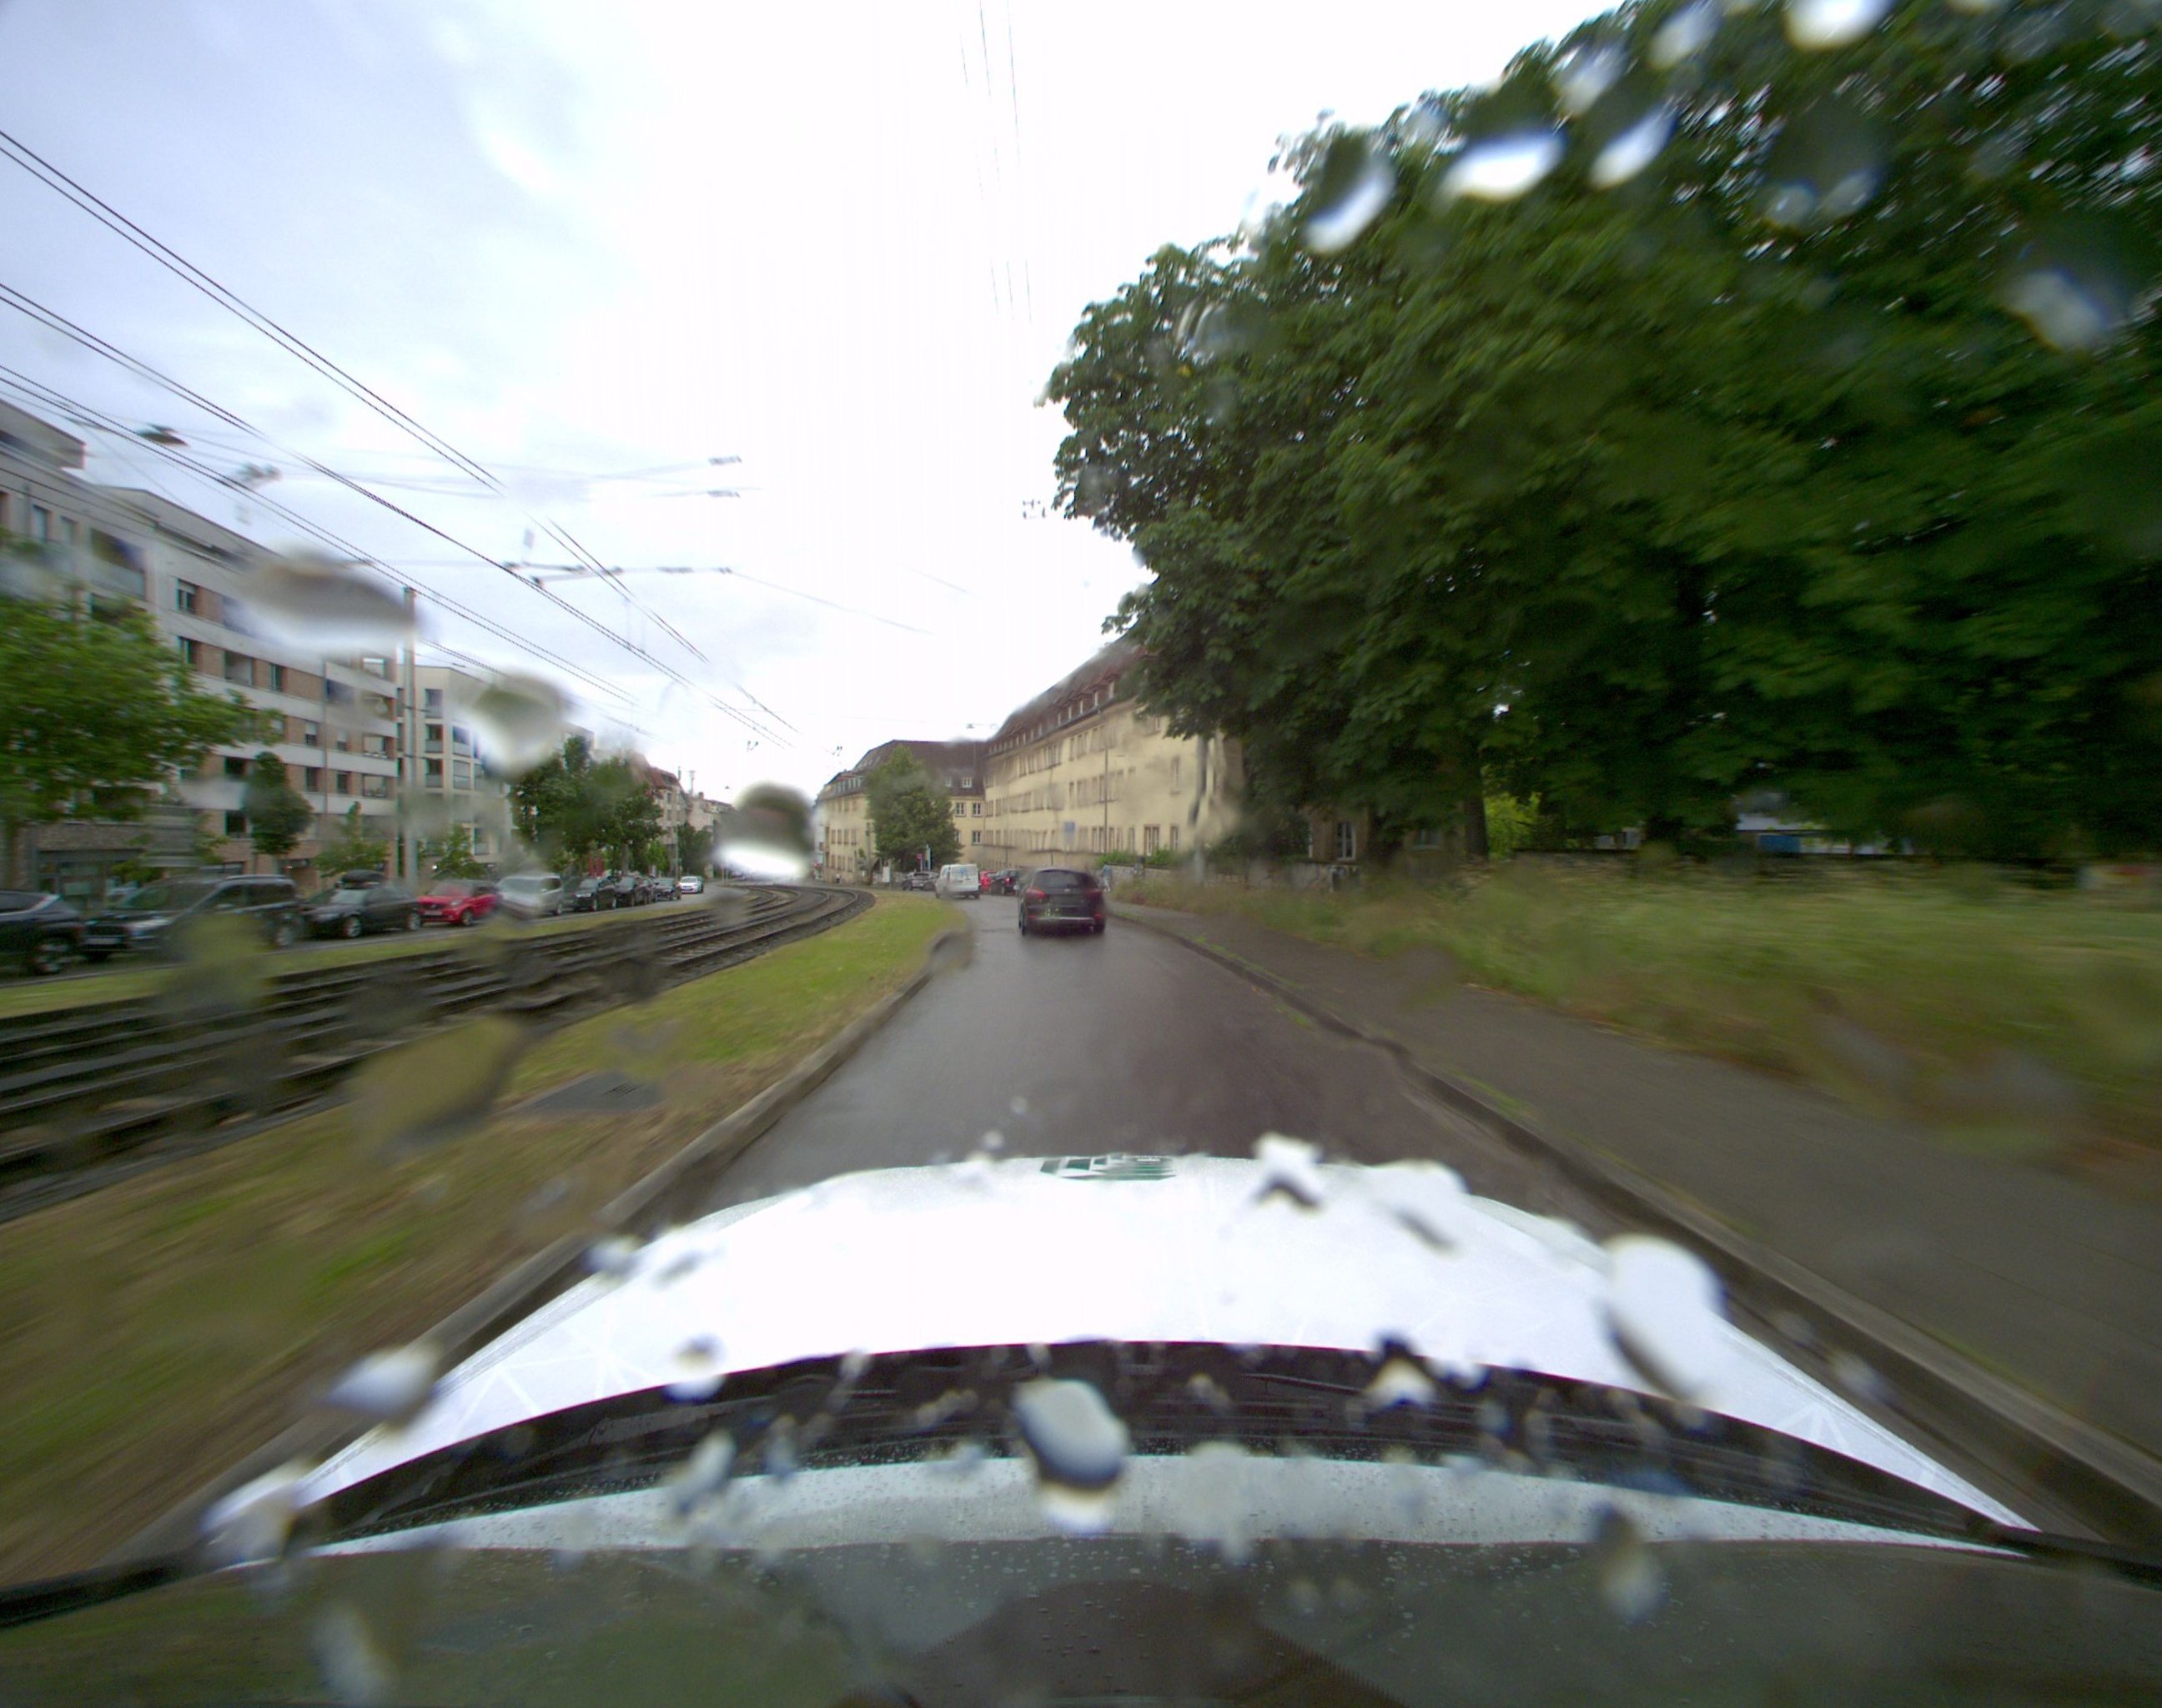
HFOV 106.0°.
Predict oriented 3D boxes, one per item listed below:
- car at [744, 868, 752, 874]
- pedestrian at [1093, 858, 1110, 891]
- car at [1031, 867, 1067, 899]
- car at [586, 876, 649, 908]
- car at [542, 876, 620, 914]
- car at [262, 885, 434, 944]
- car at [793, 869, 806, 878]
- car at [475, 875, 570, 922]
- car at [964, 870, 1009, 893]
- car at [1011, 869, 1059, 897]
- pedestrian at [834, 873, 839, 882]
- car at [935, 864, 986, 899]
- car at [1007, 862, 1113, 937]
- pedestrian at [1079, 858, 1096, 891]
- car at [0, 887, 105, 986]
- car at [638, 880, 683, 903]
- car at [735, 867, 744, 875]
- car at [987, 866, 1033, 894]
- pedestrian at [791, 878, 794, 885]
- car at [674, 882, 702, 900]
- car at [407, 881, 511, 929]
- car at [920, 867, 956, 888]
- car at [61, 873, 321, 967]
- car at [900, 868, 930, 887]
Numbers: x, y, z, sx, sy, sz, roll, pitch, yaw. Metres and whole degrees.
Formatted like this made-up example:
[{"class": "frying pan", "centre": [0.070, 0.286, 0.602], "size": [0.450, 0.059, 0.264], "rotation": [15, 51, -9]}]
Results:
[{"class": "car", "centre": [-91.341, 4.598, 223.291], "size": [2.001, 1.662, 3.971], "rotation": [-1, -1, -22]}, {"class": "pedestrian", "centre": [1.131, 1.116, 44.795], "size": [0.719, 1.755, 0.735], "rotation": [-2, -1, -15]}, {"class": "car", "centre": [-1.576, 1.397, 39.900], "size": [1.595, 1.465, 2.716], "rotation": [-2, -1, -5]}, {"class": "car", "centre": [-24.747, 2.009, 43.651], "size": [1.806, 1.584, 4.673], "rotation": [0, -1, -15]}, {"class": "car", "centre": [-23.344, 1.883, 38.229], "size": [1.733, 1.644, 4.511], "rotation": [0, -1, -13]}, {"class": "car", "centre": [-20.985, 1.678, 23.596], "size": [1.550, 1.447, 4.384], "rotation": [0, -1, -10]}, {"class": "car", "centre": [-54.943, 3.791, 159.054], "size": [1.997, 1.772, 3.978], "rotation": [-1, -1, -16]}, {"class": "car", "centre": [-22.375, 1.726, 32.805], "size": [1.664, 1.748, 4.239], "rotation": [-1, -1, -12]}, {"class": "car", "centre": [-6.295, 1.795, 53.890], "size": [1.675, 1.477, 4.029], "rotation": [0, -2, -27]}, {"class": "car", "centre": [-2.523, 1.533, 43.815], "size": [1.541, 1.416, 3.619], "rotation": [-2, -1, -20]}, {"class": "pedestrian", "centre": [-34.427, 3.276, 114.642], "size": [0.507, 1.315, 0.506], "rotation": [-1, -1, -27]}, {"class": "car", "centre": [-6.629, 1.441, 44.536], "size": [2.142, 1.745, 4.194], "rotation": [-1, 0, -17]}, {"class": "car", "centre": [-0.602, 0.959, 18.842], "size": [1.920, 1.479, 3.987], "rotation": [-2, 0, -9]}, {"class": "pedestrian", "centre": [0.356, 1.130, 44.305], "size": [0.719, 1.755, 0.735], "rotation": [-2, -1, -15]}, {"class": "car", "centre": [-19.162, 1.384, 13.153], "size": [1.993, 1.605, 4.201], "rotation": [2, -2, -9]}, {"class": "car", "centre": [-27.792, 2.457, 53.978], "size": [1.971, 1.431, 4.174], "rotation": [0, -1, -18]}, {"class": "car", "centre": [-88.057, 4.404, 210.212], "size": [2.001, 2.014, 3.971], "rotation": [-1, -1, -22]}, {"class": "car", "centre": [-4.286, 1.553, 48.908], "size": [1.672, 1.573, 3.827], "rotation": [-2, -1, -22]}, {"class": "pedestrian", "centre": [-50.238, 4.775, 141.668], "size": [0.512, 1.315, 0.502], "rotation": [-1, -1, -24]}, {"class": "car", "centre": [-34.781, 3.250, 72.055], "size": [1.771, 1.479, 3.710], "rotation": [-1, -1, -19]}, {"class": "car", "centre": [-21.325, 1.719, 28.051], "size": [1.467, 1.531, 2.925], "rotation": [1, -1, -6]}, {"class": "car", "centre": [-11.267, 1.856, 64.127], "size": [1.674, 1.476, 4.073], "rotation": [-2, -1, -26]}, {"class": "car", "centre": [-19.800, 1.379, 18.456], "size": [1.581, 1.859, 4.317], "rotation": [1, -1, -10]}, {"class": "car", "centre": [-14.144, 2.004, 69.245], "size": [1.673, 1.524, 4.076], "rotation": [-2, -1, -23]}]
